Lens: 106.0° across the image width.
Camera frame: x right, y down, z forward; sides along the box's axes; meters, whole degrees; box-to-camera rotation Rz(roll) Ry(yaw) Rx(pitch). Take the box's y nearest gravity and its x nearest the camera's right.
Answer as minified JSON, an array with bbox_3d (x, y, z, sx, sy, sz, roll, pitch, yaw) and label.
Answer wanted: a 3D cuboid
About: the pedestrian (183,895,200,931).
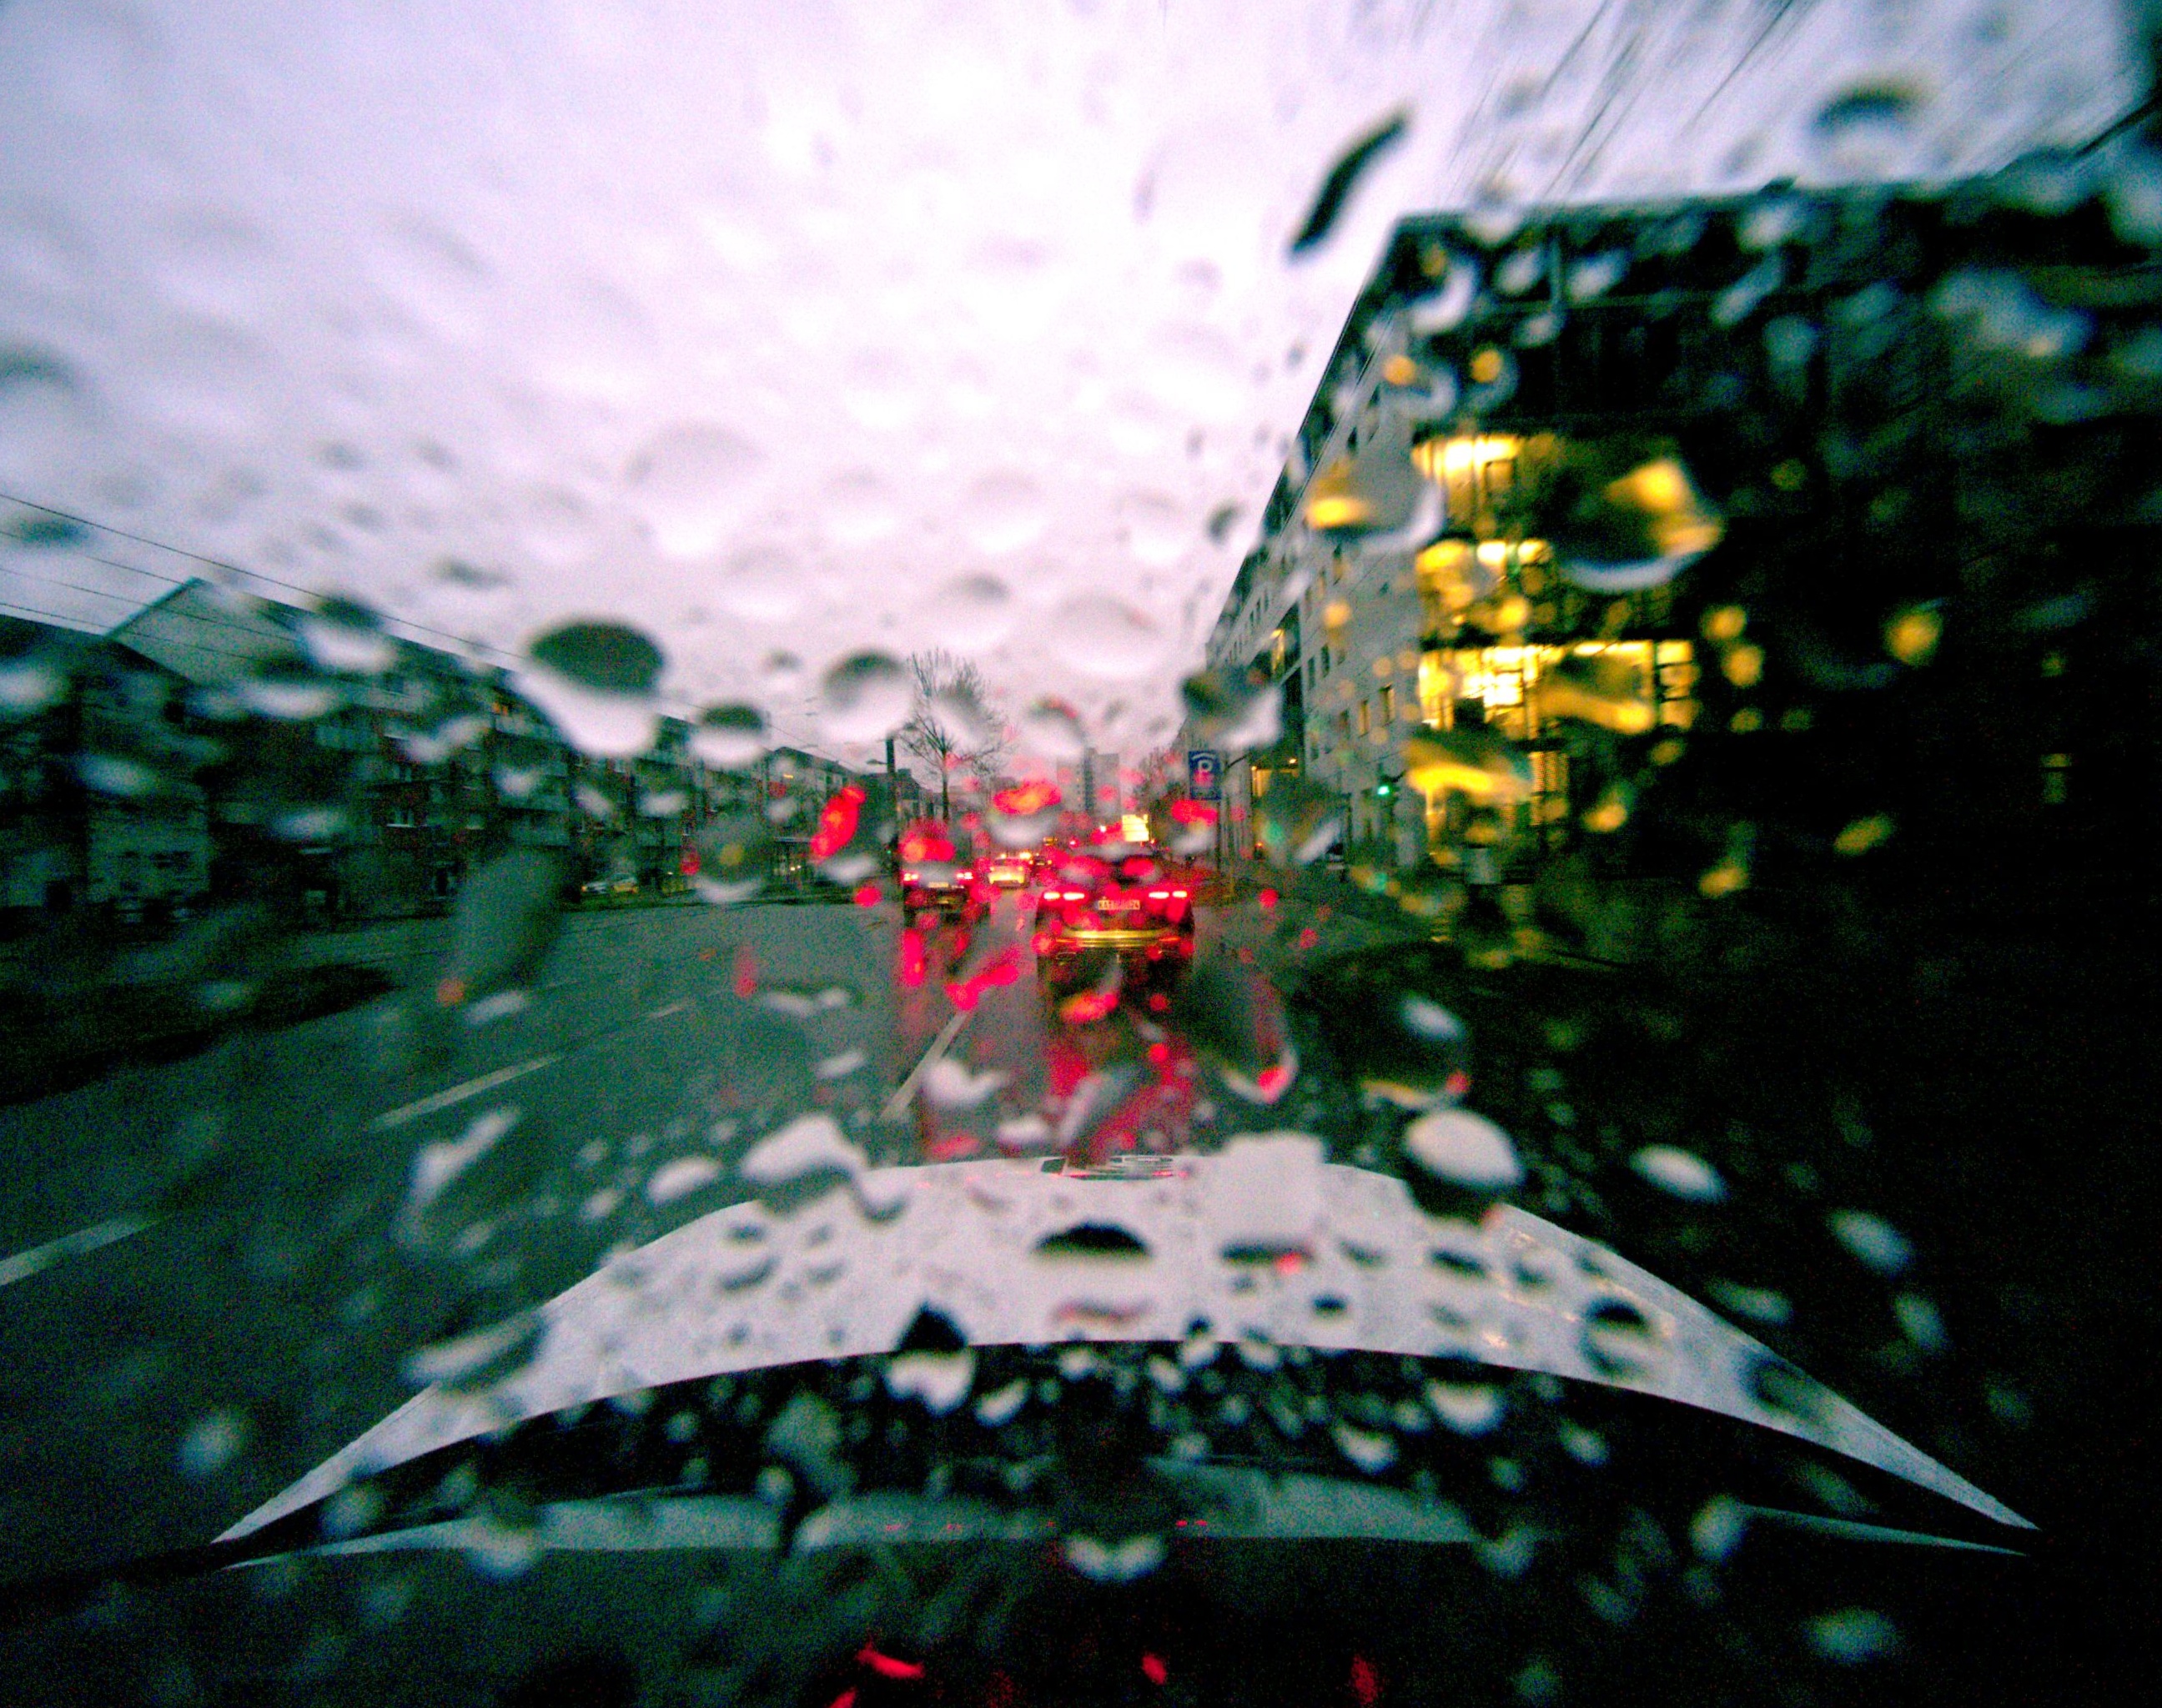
[{"bbox_3d":[-30.765,2.032,28.167,0.348,1.184,0.429,0,0,-38],"label":"pedestrian"}]

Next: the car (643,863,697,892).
[{"bbox_3d":[-30.538,1.696,60.626,1.988,2.013,3.998,0,0,-1],"label":"car"}]

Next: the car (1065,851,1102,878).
[{"bbox_3d":[0.194,0.579,48.748,1.858,1.543,3.616,0,0,5],"label":"car"}]

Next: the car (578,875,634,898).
[{"bbox_3d":[-29.987,2.044,51.521,1.439,1.287,3.387,0,0,2],"label":"car"}]

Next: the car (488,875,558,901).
[{"bbox_3d":[-30.895,1.882,45.198,1.439,1.287,3.387,0,0,2],"label":"car"}]

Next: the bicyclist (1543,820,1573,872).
[{"bbox_3d":[12.434,-0.211,21.239,0.615,1.330,0.569,0,0,35],"label":"bicyclist"}]

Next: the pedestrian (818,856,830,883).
[{"bbox_3d":[-16.011,0.949,50.754,0.489,1.656,0.465,0,0,21],"label":"pedestrian"}]

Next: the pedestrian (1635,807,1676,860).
[{"bbox_3d":[18.143,-0.628,25.739,0.804,1.654,0.727,0,0,4],"label":"pedestrian"}]

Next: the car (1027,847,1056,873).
[{"bbox_3d":[-2.735,0.418,57.339,1.655,1.759,3.571,0,0,4],"label":"car"}]

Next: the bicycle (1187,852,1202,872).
[{"bbox_3d":[5.610,0.385,40.184,0.543,0.965,1.346,0,0,0],"label":"bicycle"}]

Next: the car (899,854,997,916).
[{"bbox_3d":[-3.332,0.726,21.143,1.811,1.450,4.000,0,0,1],"label":"car"}]

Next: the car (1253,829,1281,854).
[{"bbox_3d":[13.512,-0.910,59.314,1.618,1.759,3.429,0,0,7],"label":"car"}]

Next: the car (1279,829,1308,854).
[{"bbox_3d":[15.363,-0.879,59.117,1.618,1.759,3.429,0,0,7],"label":"car"}]

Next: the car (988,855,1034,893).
[{"bbox_3d":[-3.197,0.882,37.864,1.683,1.635,3.476,0,0,2],"label":"car"}]

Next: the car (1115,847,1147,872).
[{"bbox_3d":[3.149,0.339,51.910,1.843,1.555,3.431,0,0,0],"label":"car"}]

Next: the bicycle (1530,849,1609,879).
[{"bbox_3d":[12.632,0.256,21.087,1.711,0.745,0.656,0,0,36],"label":"bicycle"}]

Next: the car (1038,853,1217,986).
[{"bbox_3d":[0.598,0.732,10.916,1.986,1.483,3.702,0,0,2],"label":"car"}]

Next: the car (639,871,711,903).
[{"bbox_3d":[-18.970,1.500,38.196,1.439,1.342,3.638,0,0,2],"label":"car"}]

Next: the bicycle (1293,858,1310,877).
[{"bbox_3d":[11.233,0.666,41.447,0.373,0.929,1.076,-1,2,-12],"label":"bicycle"}]
